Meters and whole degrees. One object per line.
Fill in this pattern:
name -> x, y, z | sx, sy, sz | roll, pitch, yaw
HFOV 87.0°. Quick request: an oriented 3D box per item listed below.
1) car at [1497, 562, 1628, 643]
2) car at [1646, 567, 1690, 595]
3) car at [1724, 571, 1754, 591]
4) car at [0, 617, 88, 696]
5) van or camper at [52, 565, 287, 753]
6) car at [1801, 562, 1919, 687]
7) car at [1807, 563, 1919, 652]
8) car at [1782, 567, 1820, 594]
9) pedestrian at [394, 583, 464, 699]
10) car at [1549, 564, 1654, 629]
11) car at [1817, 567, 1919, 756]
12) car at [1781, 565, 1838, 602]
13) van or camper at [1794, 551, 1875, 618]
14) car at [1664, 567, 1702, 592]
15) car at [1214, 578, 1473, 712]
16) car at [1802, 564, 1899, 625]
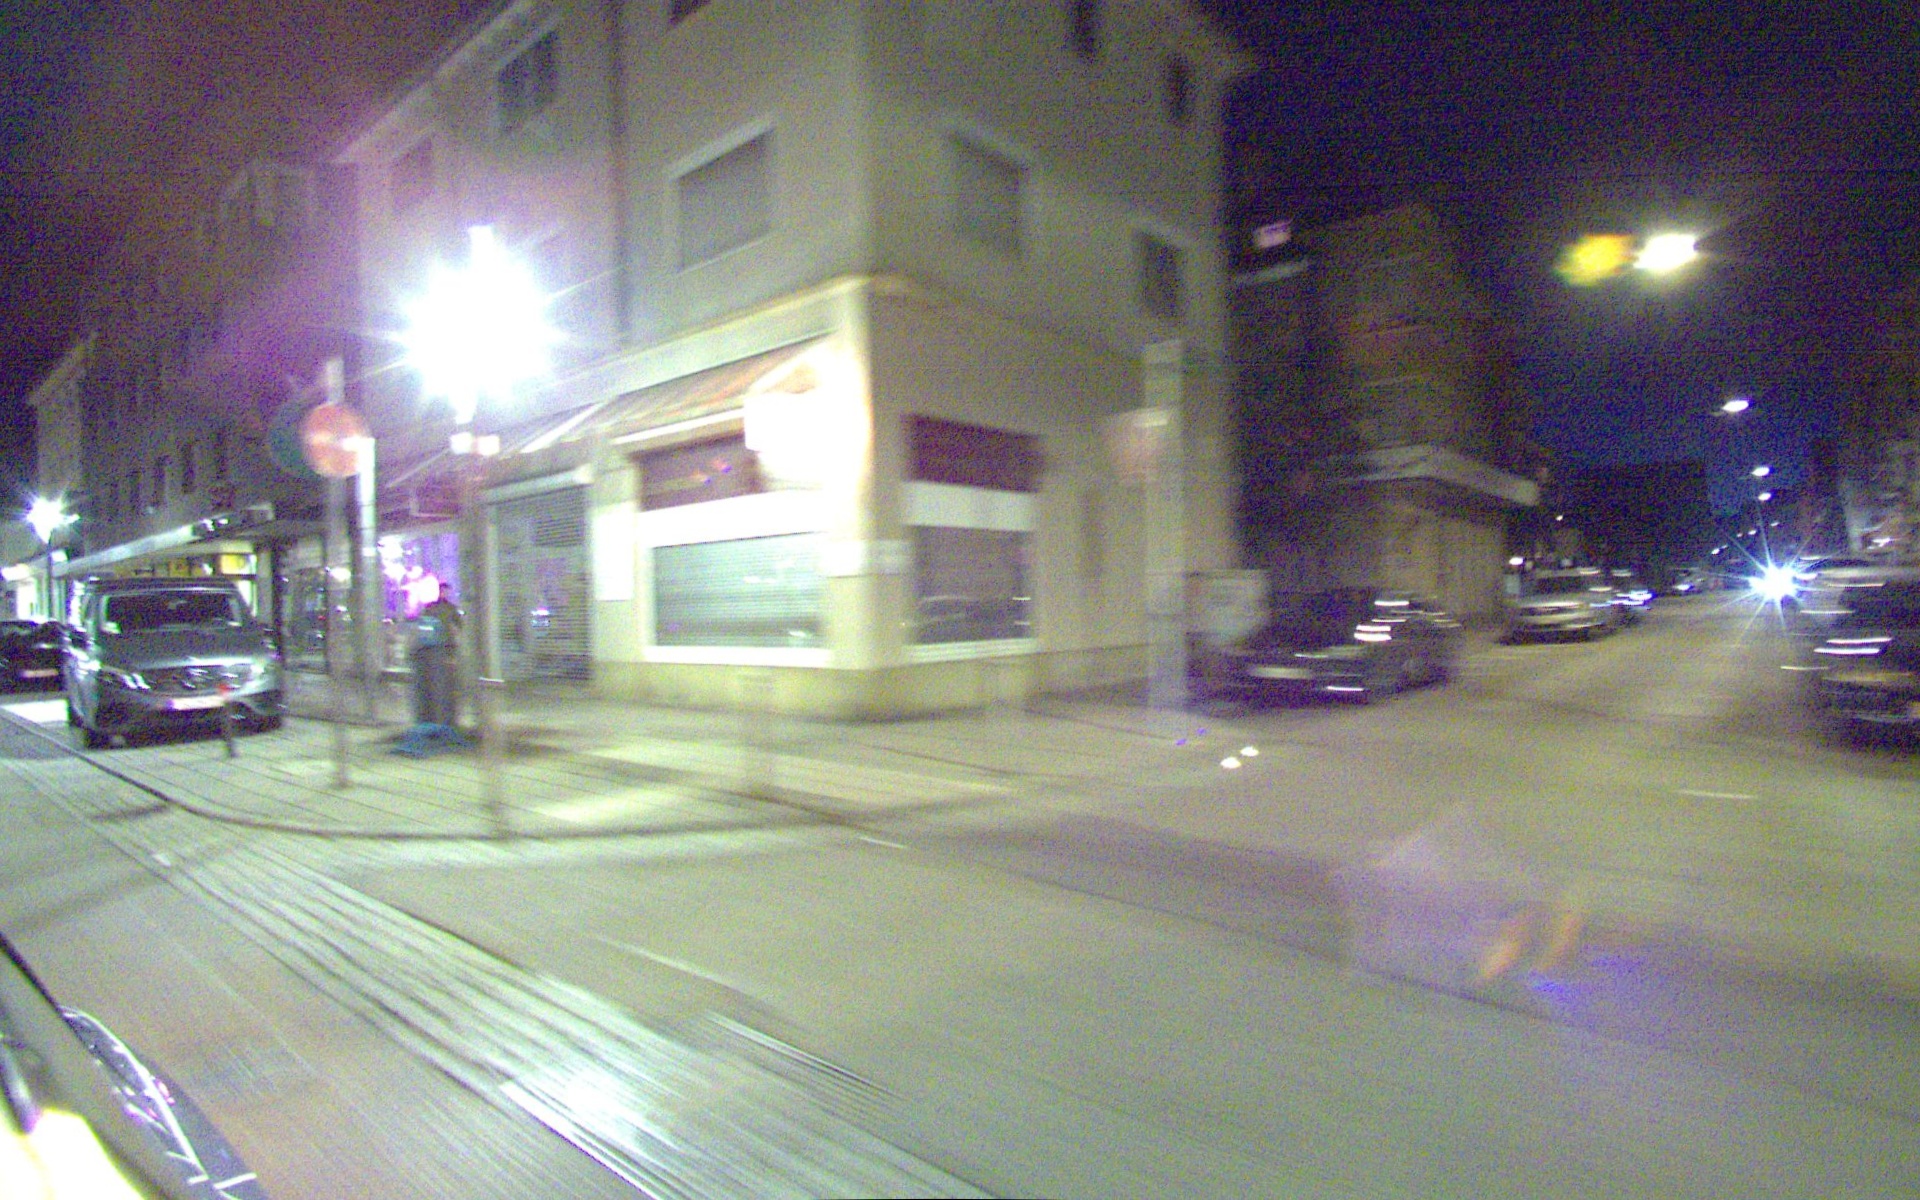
car -> 14.196, 0.066, 23.739 | 1.998, 1.660, 3.947 | -4, -2, 39
car -> 47.055, -1.230, 67.252 | 1.998, 1.660, 3.947 | -4, -2, 39
car -> 71.799, -1.765, 93.294 | 1.998, 1.660, 3.947 | -4, -2, 39
car -> -19.324, 1.119, 20.660 | 4.383, 1.423, 1.699 | -2, 1, 41
van or camper -> -10.333, 0.642, 13.048 | 1.824, 1.956, 5.157 | -2, 0, -44
car -> 11.991, 0.222, 12.951 | 1.807, 1.402, 3.948 | 0, 1, 39
car -> 15.989, 0.067, 17.664 | 1.747, 1.402, 3.948 | 0, 1, 39
car -> 41.939, -0.969, 50.530 | 1.388, 1.303, 3.289 | 0, 1, 39
pedestrian -> -8.389, 0.627, 15.983 | 1.022, 1.758, 0.615 | -1, 0, 41
car -> 18.441, -0.096, 29.022 | 1.998, 1.660, 3.947 | -4, -2, 39
car -> 8.631, 0.406, 8.699 | 1.807, 1.386, 3.948 | 0, 1, 39
car -> 33.257, -0.664, 39.692 | 1.609, 1.402, 3.632 | 0, 1, 39
van or camper -> 25.888, -0.489, 30.073 | 1.609, 1.817, 4.919 | 0, 1, 39
car -> 53.965, -1.514, 75.511 | 1.998, 1.660, 3.947 | -4, -2, 39
car -> 5.206, 0.516, 13.355 | 1.778, 1.411, 4.397 | -5, -2, 40
car -> 21.990, -0.170, 25.091 | 1.609, 1.402, 3.632 | 0, 1, 39
